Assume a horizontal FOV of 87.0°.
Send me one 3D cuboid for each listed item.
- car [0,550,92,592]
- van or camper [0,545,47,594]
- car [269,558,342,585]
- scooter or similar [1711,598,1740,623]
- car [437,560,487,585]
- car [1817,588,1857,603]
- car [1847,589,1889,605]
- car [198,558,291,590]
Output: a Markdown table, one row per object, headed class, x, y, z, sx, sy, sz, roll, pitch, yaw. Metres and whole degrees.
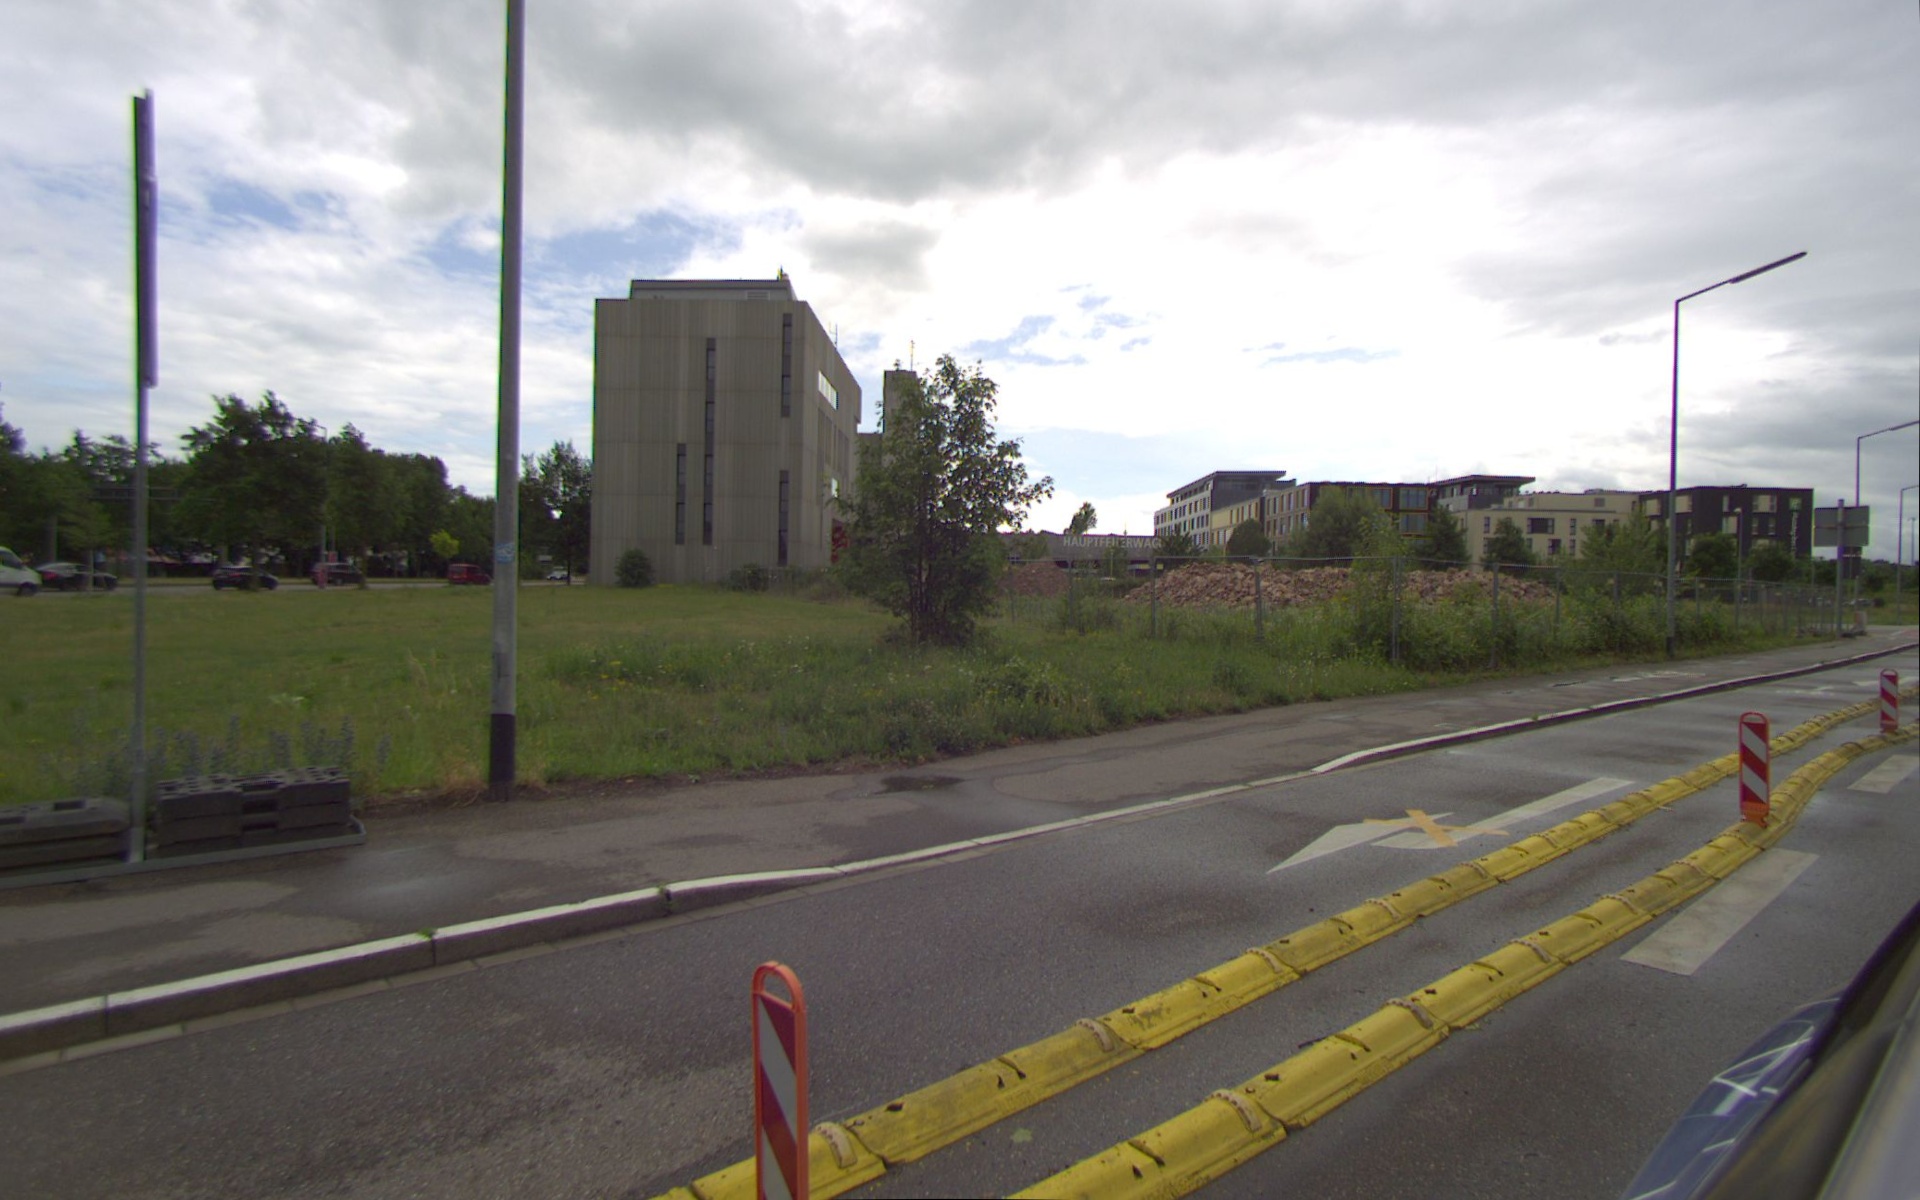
| class | x | y | z | sx | sy | sz | roll | pitch | yaw |
| --- | --- | --- | --- | --- | --- | --- | --- | --- | --- |
| car | -46.372 | -1.460 | 50.851 | 1.963 | 2.039 | 3.998 | 1 | 1 | 2 |
| van or camper | -40.956 | -1.263 | 41.307 | 1.963 | 2.039 | 5.893 | 1 | 1 | 1 |
| car | -46.208 | -2.001 | 71.592 | 2.077 | 1.817 | 4.606 | 1 | 1 | 3 |
| scooter or similar | 39.354 | 0.541 | 52.059 | 0.437 | 1.200 | 1.327 | 1 | 1 | 0 |
| car | -41.323 | -2.275 | 84.117 | 2.075 | 1.941 | 4.209 | 1 | 1 | -1 |
| car | 127.682 | -0.701 | 147.412 | 3.925 | 2.038 | 2.000 | 1 | 1 | 1 |
| car | 126.441 | -0.459 | 140.887 | 3.925 | 2.038 | 2.000 | 1 | 1 | 1 |
| car | -43.476 | -1.588 | 61.625 | 2.079 | 1.817 | 4.601 | 1 | 1 | 6 |
